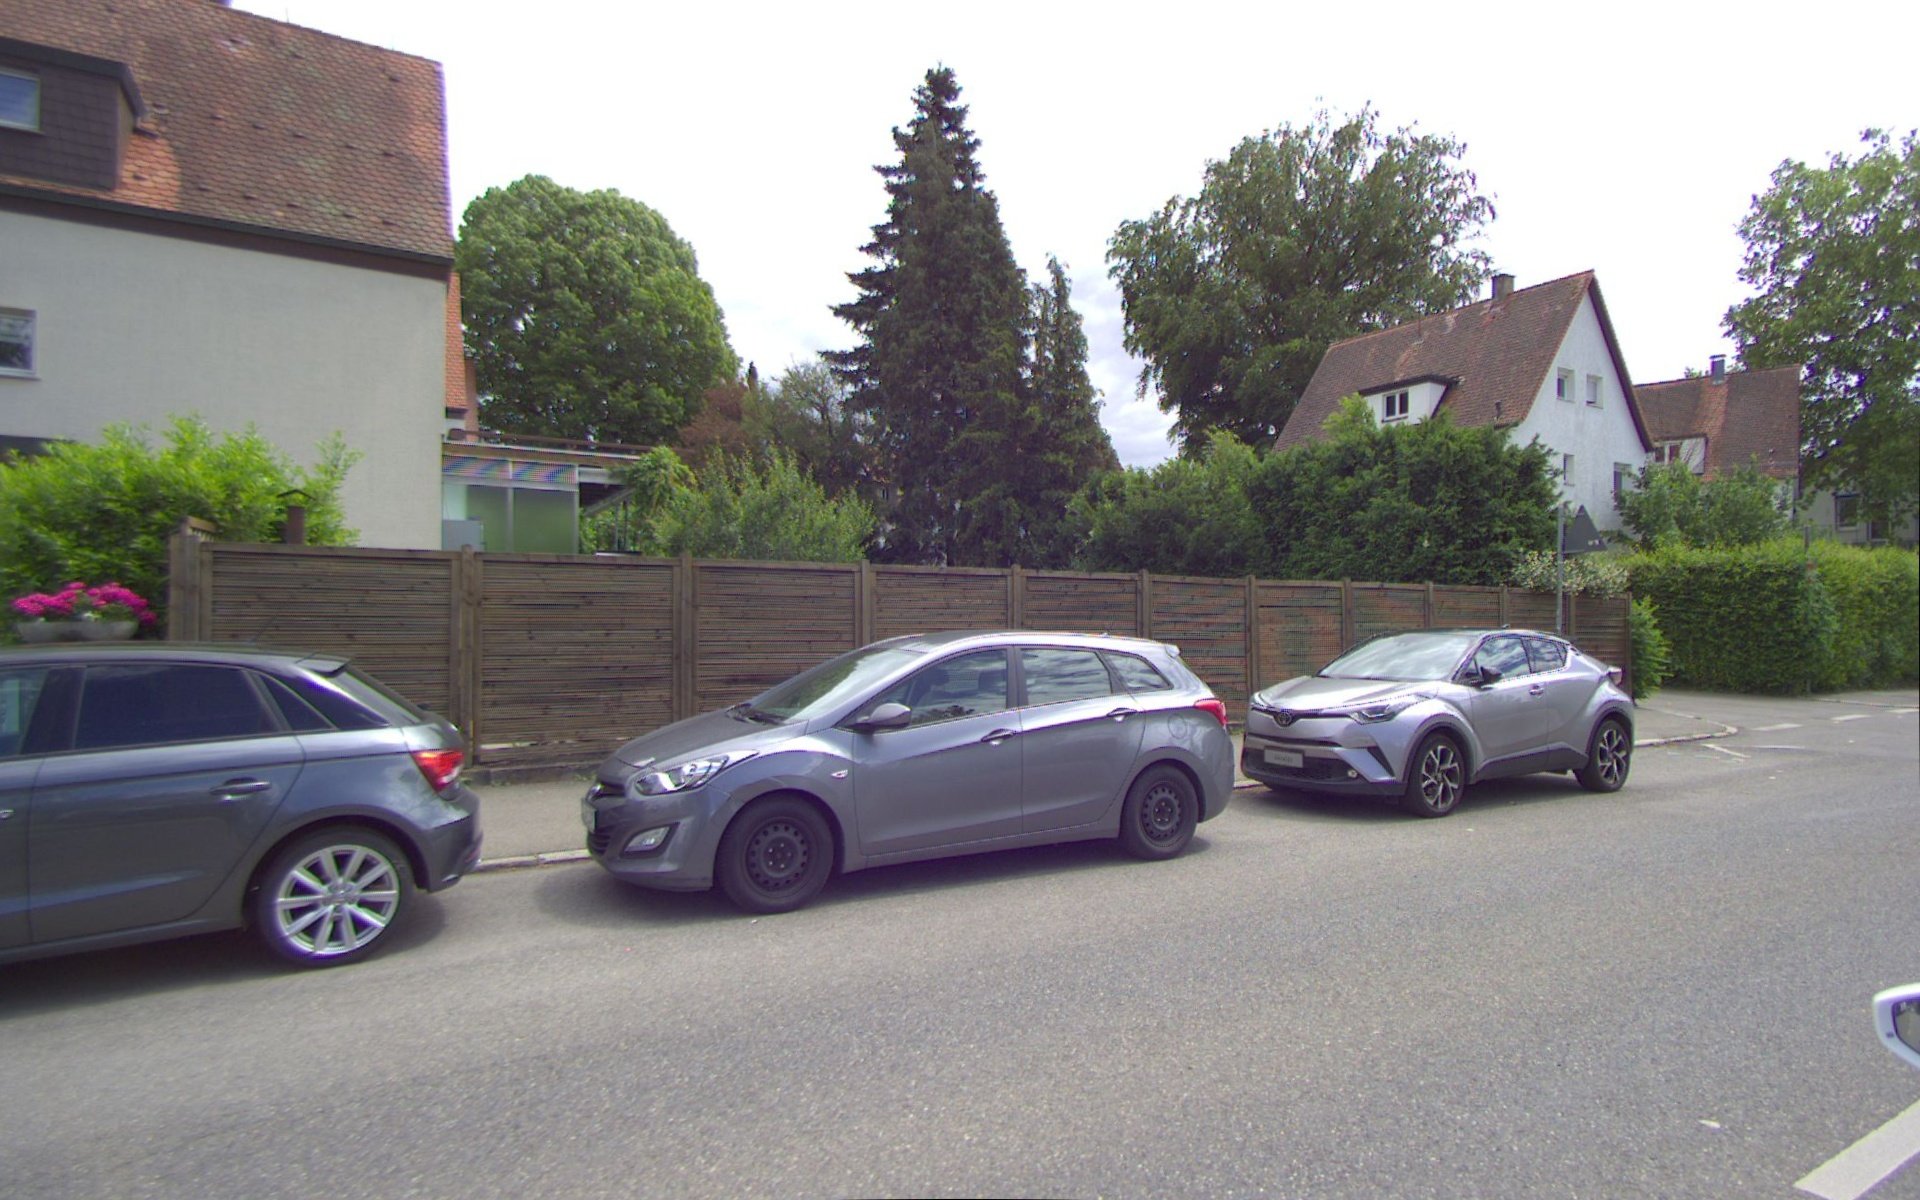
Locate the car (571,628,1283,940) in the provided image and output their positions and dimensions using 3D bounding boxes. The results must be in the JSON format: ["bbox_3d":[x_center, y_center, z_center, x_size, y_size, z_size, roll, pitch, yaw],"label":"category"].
[{"bbox_3d":[-0.132,0.938,6.727,4.433,1.478,1.859,1,-1,-29],"label":"car"}]

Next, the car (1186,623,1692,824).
[{"bbox_3d":[4.573,0.989,9.499,4.588,1.499,1.986,1,-2,-28],"label":"car"}]

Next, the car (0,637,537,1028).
[{"bbox_3d":[-4.113,0.924,4.498,3.865,1.446,1.641,0,-2,-34],"label":"car"}]
